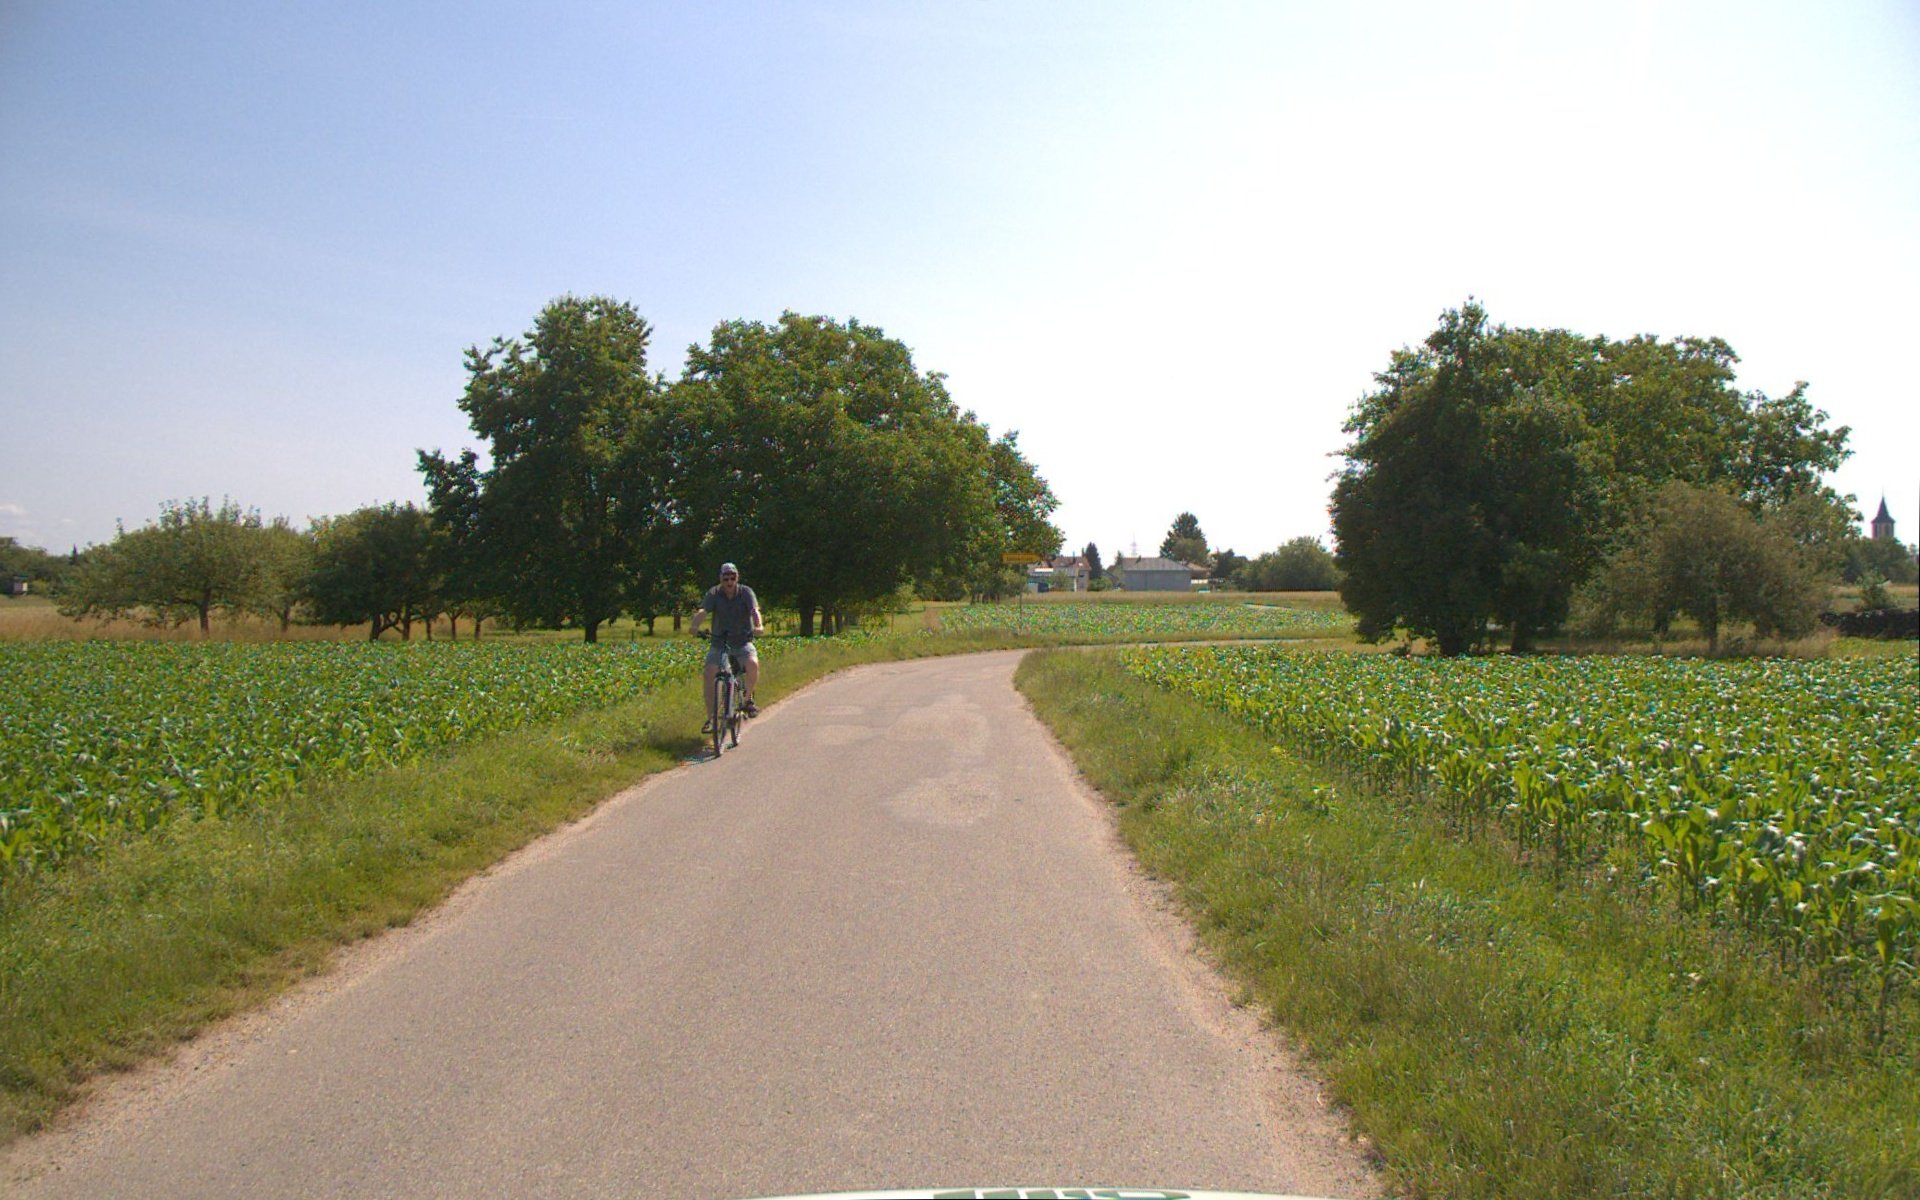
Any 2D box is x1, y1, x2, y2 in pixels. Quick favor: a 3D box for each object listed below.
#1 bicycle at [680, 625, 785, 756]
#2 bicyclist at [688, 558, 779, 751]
[{"bbox_3d":[-2.214,0.855,16.303,0.735,1.147,1.908,-2,0,0],"label":"bicycle"},{"bbox_3d":[-2.222,0.524,16.302,0.735,1.822,0.717,-2,0,-1],"label":"bicyclist"}]
